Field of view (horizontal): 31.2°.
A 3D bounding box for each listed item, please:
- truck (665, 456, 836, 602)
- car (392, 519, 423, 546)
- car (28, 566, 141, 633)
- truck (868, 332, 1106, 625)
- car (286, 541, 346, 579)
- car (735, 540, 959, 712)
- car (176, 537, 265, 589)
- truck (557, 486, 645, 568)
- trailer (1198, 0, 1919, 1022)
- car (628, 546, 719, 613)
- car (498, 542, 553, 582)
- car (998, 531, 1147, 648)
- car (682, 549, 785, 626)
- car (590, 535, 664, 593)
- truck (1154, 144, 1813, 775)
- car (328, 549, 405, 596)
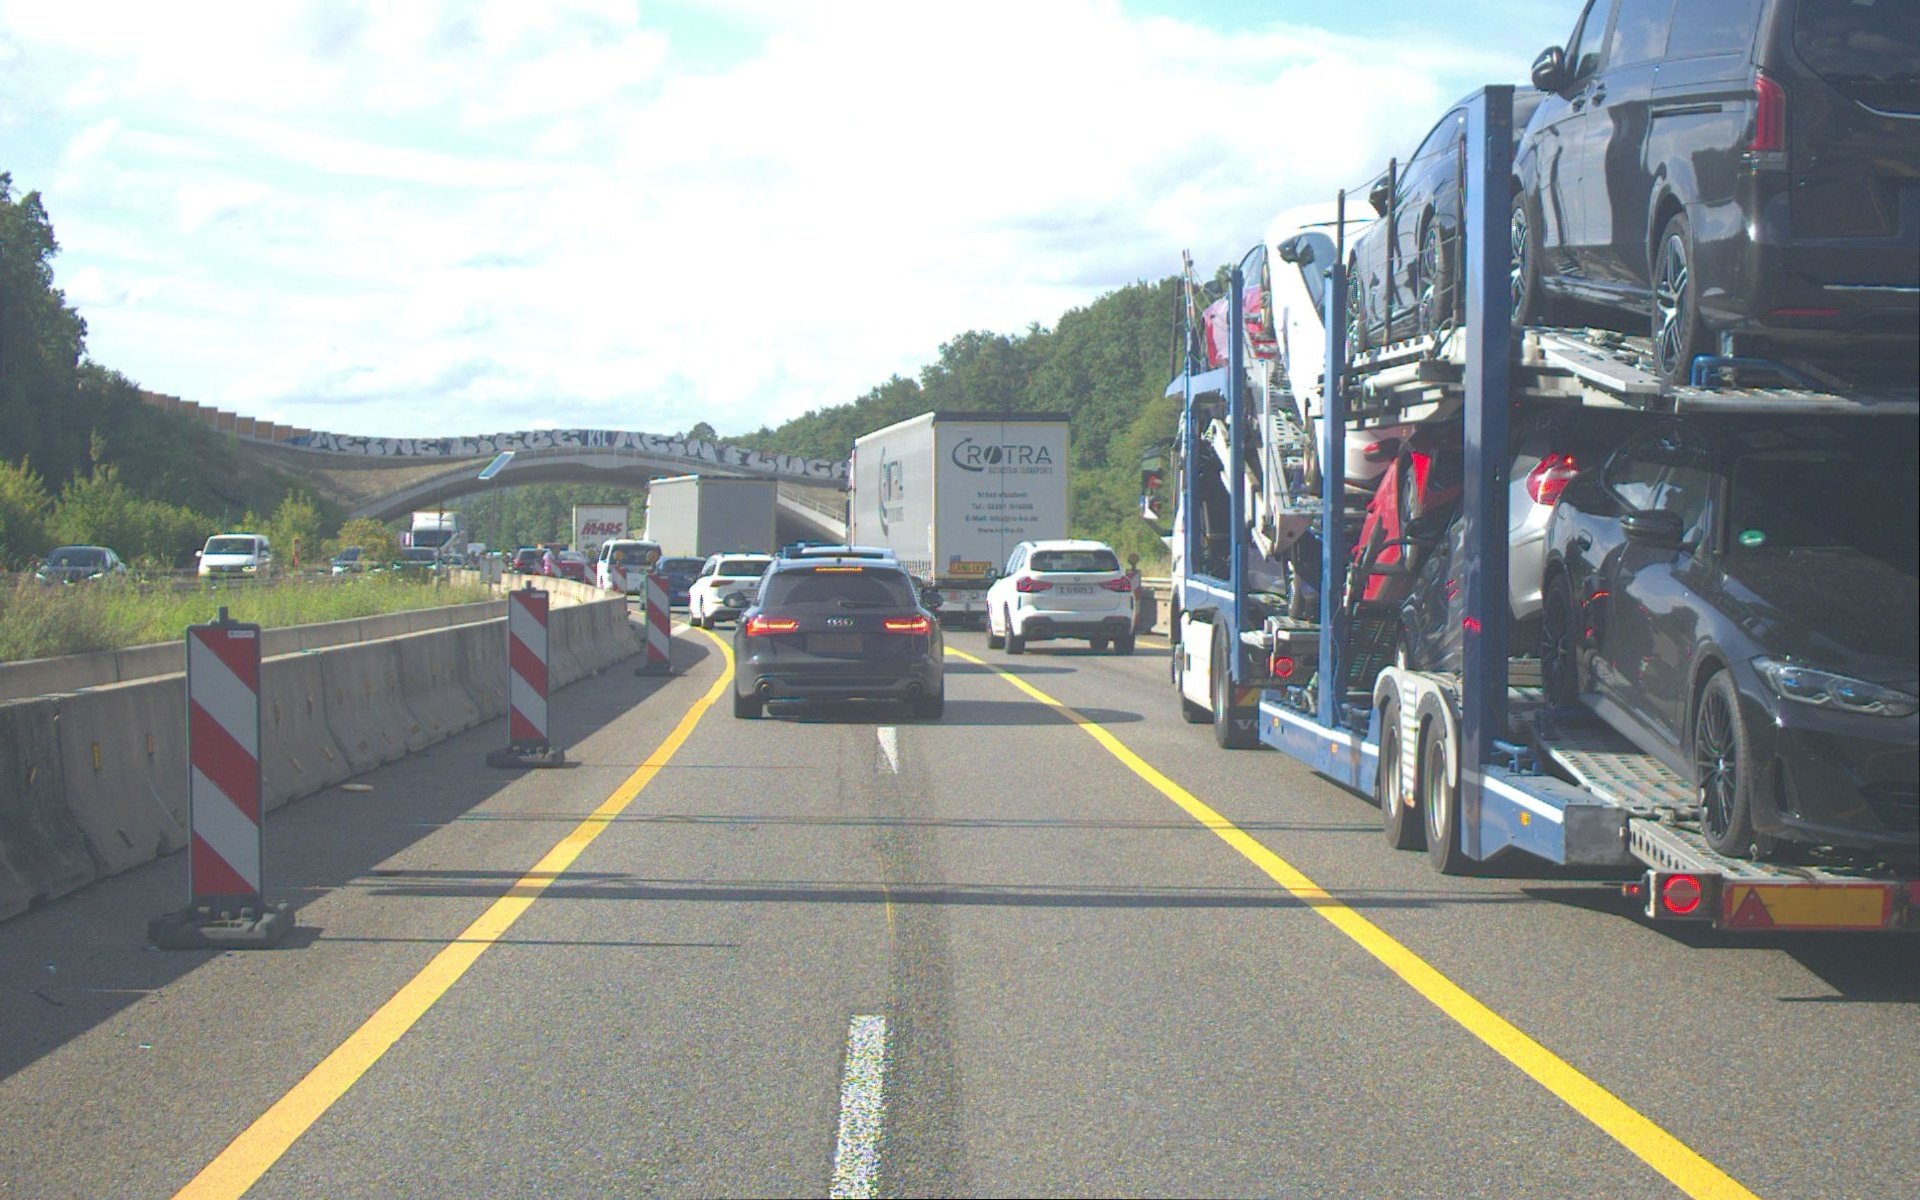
[{"bbox_3d":[-7.133,-2.346,114.899,4.318,4.584,11.128,1,1,-11],"label":"truck"},{"bbox_3d":[-38.099,-4.642,237.181,1.780,1.860,4.001,1,1,-4],"label":"car"},{"bbox_3d":[-21.840,-0.037,85.926,1.778,1.597,4.677,1,1,-2],"label":"car"},{"bbox_3d":[0.282,-2.344,71.151,3.677,5.335,16.204,1,1,-4],"label":"truck"},{"bbox_3d":[-28.024,-1.759,149.670,1.968,1.597,4.948,1,1,-4],"label":"car"},{"bbox_3d":[-1.054,0.193,31.298,1.890,1.441,4.001,1,1,-3],"label":"car"},{"bbox_3d":[-23.775,-1.207,110.747,1.968,1.597,4.948,1,1,-2],"label":"car"},{"bbox_3d":[-18.094,-3.640,172.559,3.653,3.915,11.070,1,1,-9],"label":"truck"},{"bbox_3d":[3.920,-0.877,18.820,3.726,4.182,16.229,1,1,-1],"label":"trailer"},{"bbox_3d":[-7.268,-0.537,86.931,1.890,1.637,4.019,1,1,-10],"label":"car"},{"bbox_3d":[-17.658,-1.550,139.711,1.777,1.597,4.019,1,1,-13],"label":"car"},{"bbox_3d":[1.629,-0.179,51.146,1.890,1.637,4.018,1,1,-3],"label":"car"},{"bbox_3d":[-4.431,-0.266,66.780,1.890,1.441,4.001,1,1,-5],"label":"car"},{"bbox_3d":[-9.791,-1.071,100.782,1.890,1.637,4.019,1,1,-9],"label":"car"},{"bbox_3d":[3.736,-0.994,27.035,3.761,4.182,7.951,1,1,-1],"label":"truck"},{"bbox_3d":[-20.673,-0.967,119.917,1.968,1.597,4.948,1,1,-2],"label":"car"}]
